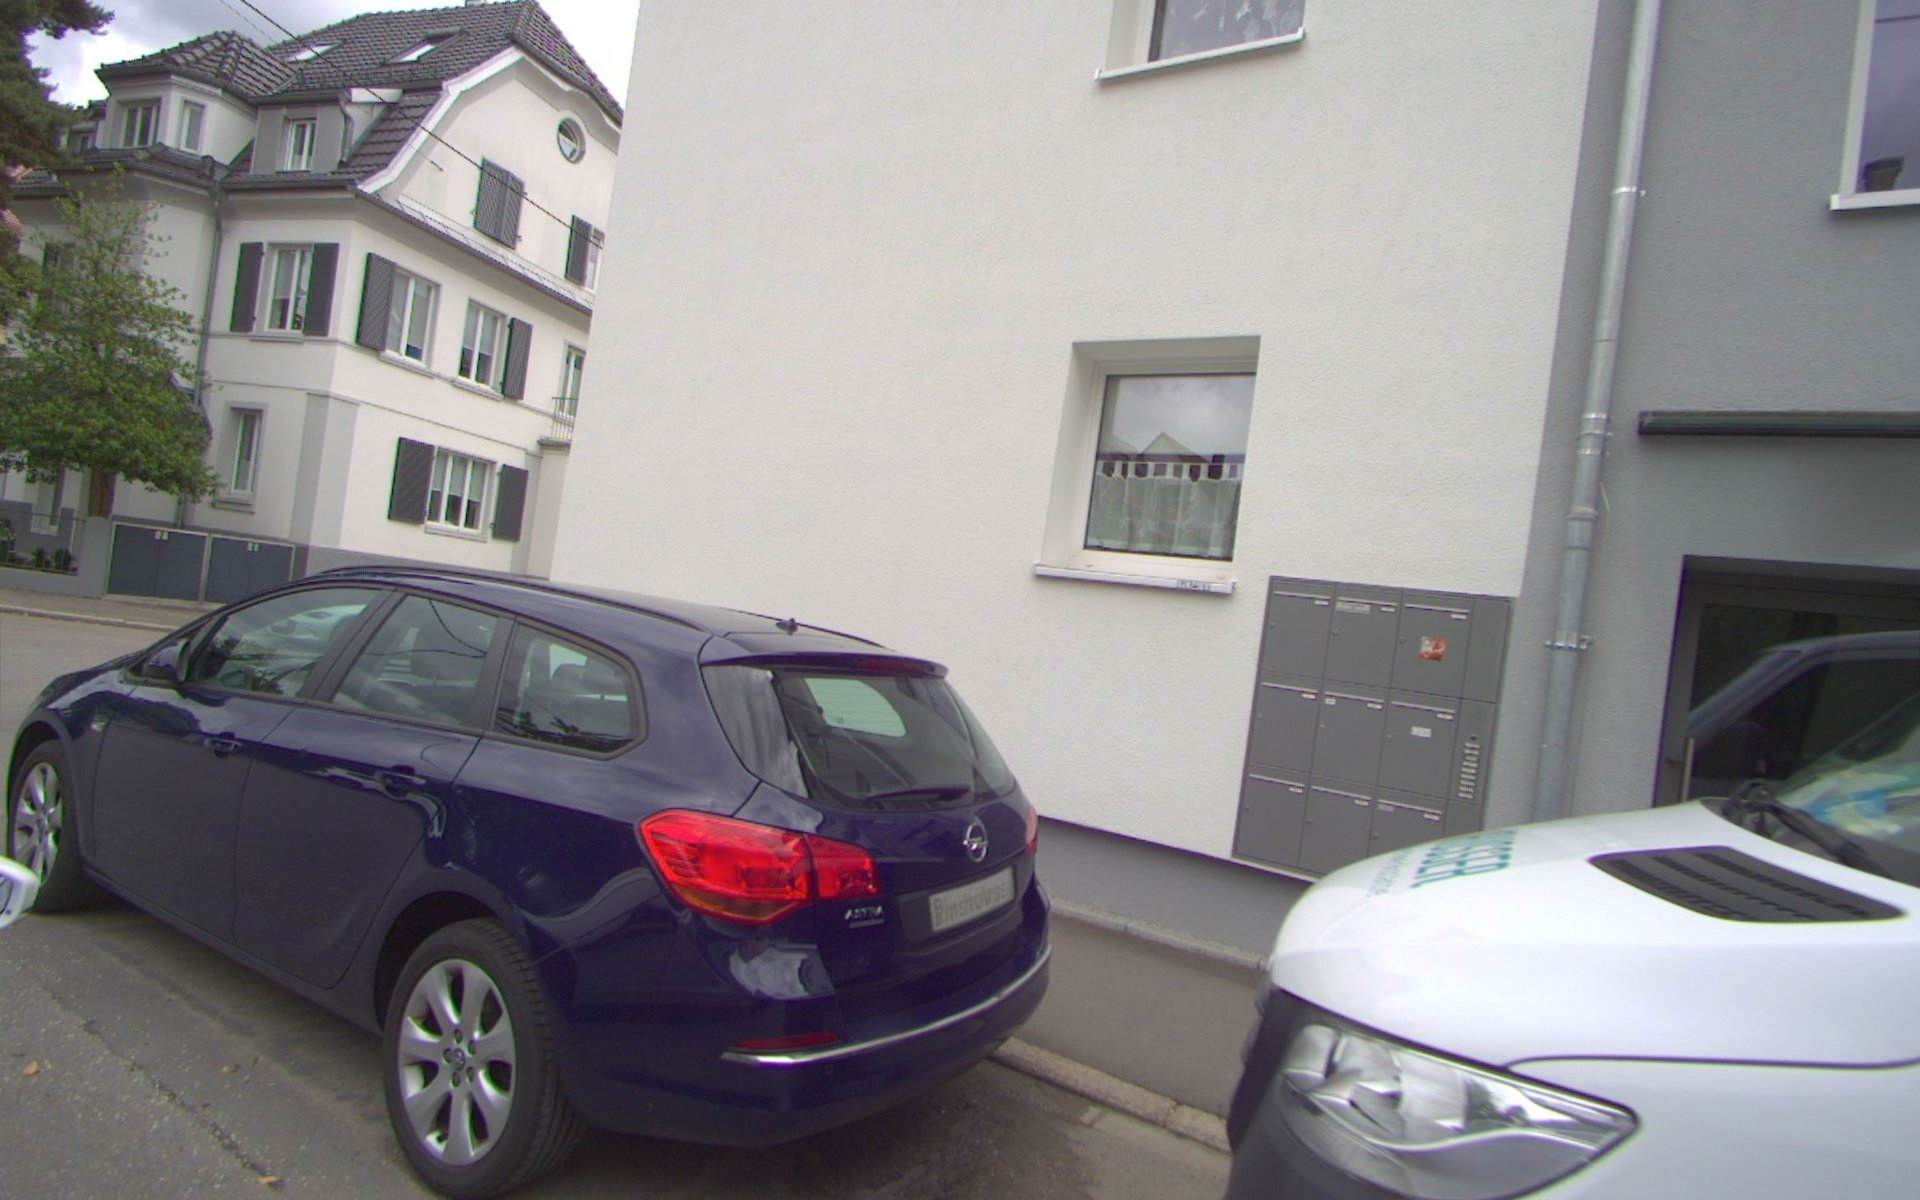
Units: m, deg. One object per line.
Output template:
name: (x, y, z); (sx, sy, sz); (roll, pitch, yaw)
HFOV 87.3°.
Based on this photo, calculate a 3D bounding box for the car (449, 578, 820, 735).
car: (-3.991, 0.845, 13.121); (1.735, 1.465, 4.355); (8, -3, 33)

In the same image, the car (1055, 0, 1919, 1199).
car: (2.875, 0.716, 0.820); (5.207, 2.450, 1.996); (5, -2, 33)

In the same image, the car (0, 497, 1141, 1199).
car: (-1.713, 0.641, 3.784); (4.214, 1.503, 1.823); (7, -2, 30)

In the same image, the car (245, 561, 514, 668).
car: (-9.688, 0.304, 17.036); (1.643, 1.274, 3.479); (5, -5, 31)
